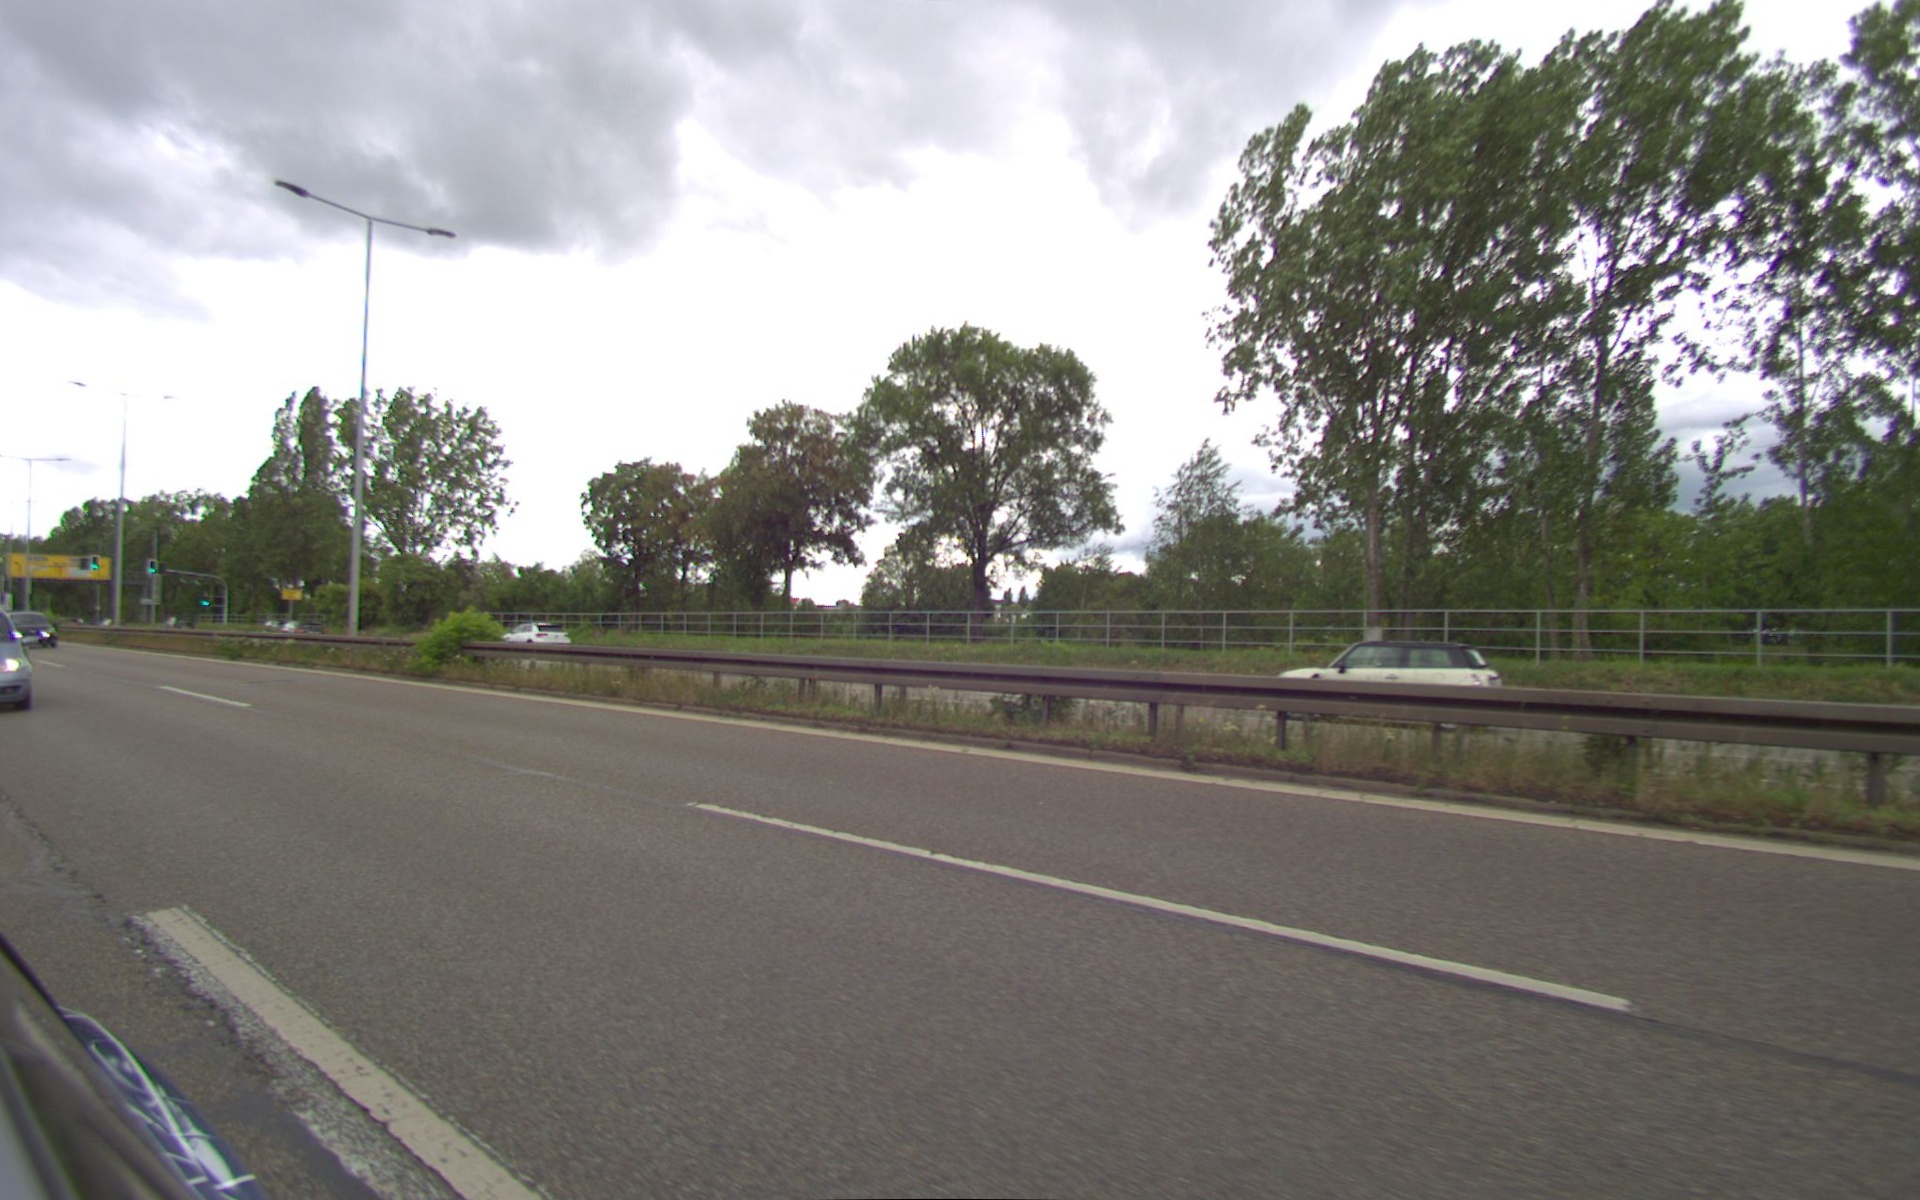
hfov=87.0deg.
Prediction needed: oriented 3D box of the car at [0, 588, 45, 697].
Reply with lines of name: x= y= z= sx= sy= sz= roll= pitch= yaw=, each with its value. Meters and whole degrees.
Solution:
car: x=-15.612 y=0.636 z=15.530 sx=4.144 sy=1.551 sz=1.859 roll=-1 pitch=-2 yaw=41

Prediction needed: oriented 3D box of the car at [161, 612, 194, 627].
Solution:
car: x=-70.622 y=1.795 z=91.323 sx=4.059 sy=1.309 sz=1.562 roll=-1 pitch=-2 yaw=41

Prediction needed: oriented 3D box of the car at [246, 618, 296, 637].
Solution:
car: x=-48.039 y=1.933 z=70.527 sx=4.784 sy=1.309 sz=1.643 roll=-1 pitch=-2 yaw=40

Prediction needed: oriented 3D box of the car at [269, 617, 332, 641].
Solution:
car: x=-37.091 y=1.641 z=56.869 sx=4.784 sy=1.309 sz=1.643 roll=-1 pitch=-2 yaw=40

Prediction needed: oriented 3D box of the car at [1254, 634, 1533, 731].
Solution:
car: x=7.161 y=1.289 z=16.959 sx=3.987 sy=1.409 sz=1.642 roll=-1 pitch=-2 yaw=41

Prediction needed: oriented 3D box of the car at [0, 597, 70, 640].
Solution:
car: x=-39.476 y=0.812 z=43.019 sx=4.143 sy=1.738 sz=1.859 roll=-1 pitch=-2 yaw=40

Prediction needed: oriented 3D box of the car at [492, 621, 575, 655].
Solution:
car: x=-19.608 y=1.721 z=46.485 sx=4.200 sy=1.501 sz=1.859 roll=-1 pitch=-2 yaw=41
